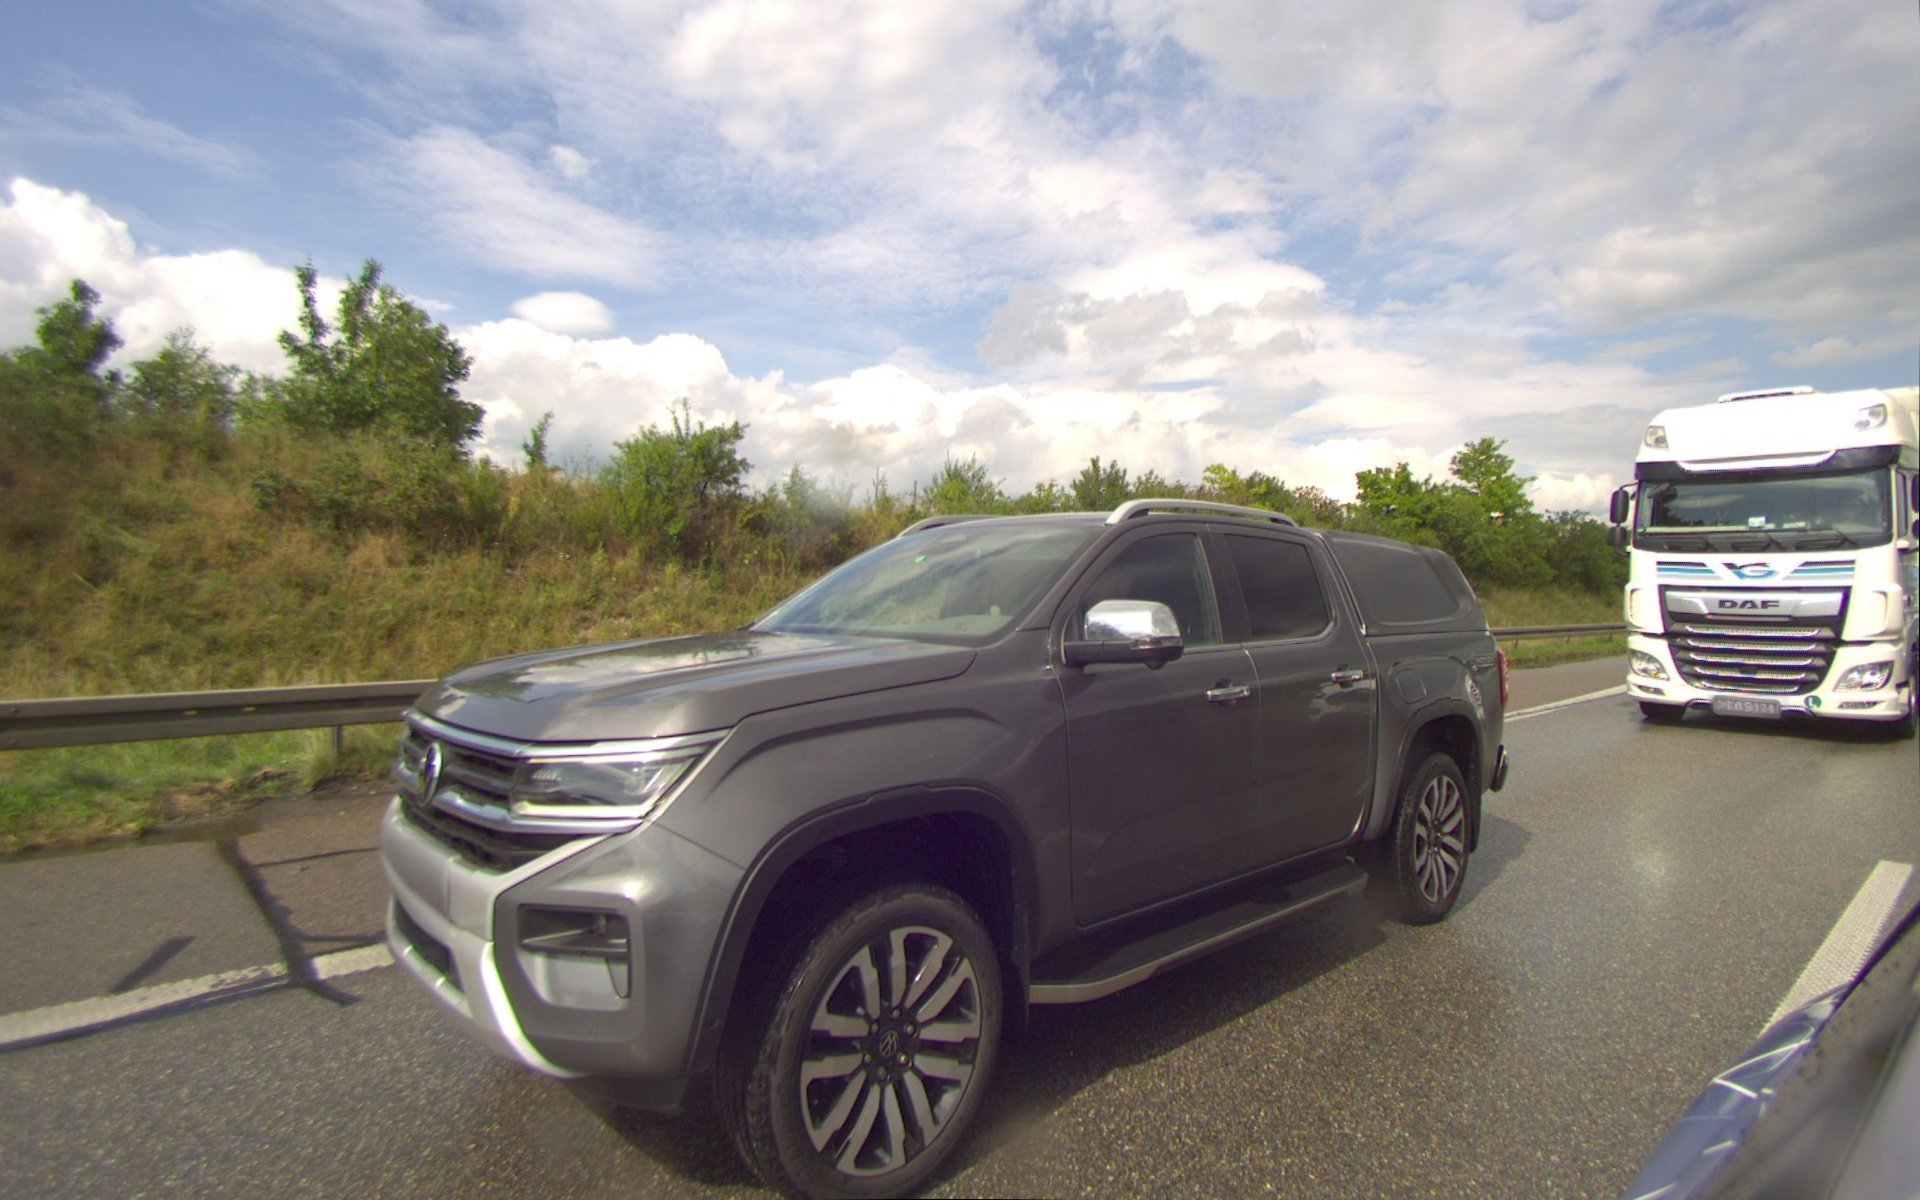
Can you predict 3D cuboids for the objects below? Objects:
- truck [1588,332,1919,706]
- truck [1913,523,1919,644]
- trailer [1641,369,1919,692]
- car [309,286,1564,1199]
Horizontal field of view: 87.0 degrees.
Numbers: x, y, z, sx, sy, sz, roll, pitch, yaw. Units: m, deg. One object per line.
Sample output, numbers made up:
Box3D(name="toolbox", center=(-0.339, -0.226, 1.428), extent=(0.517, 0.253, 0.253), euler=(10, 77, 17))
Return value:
Box3D(name="truck", center=(11.445, -0.857, 13.884), extent=(6.288, 3.940, 3.287), euler=(0, 0, -43))
Box3D(name="truck", center=(37.548, -0.610, 37.855), extent=(2.643, 4.328, 6.775), euler=(0, 0, 44))
Box3D(name="trailer", center=(15.957, -0.857, 18.066), extent=(13.890, 3.948, 3.287), euler=(0, 0, -43))
Box3D(name="car", center=(0.620, 0.391, 4.382), extent=(5.556, 1.943, 1.944), euler=(-1, 0, -43))
